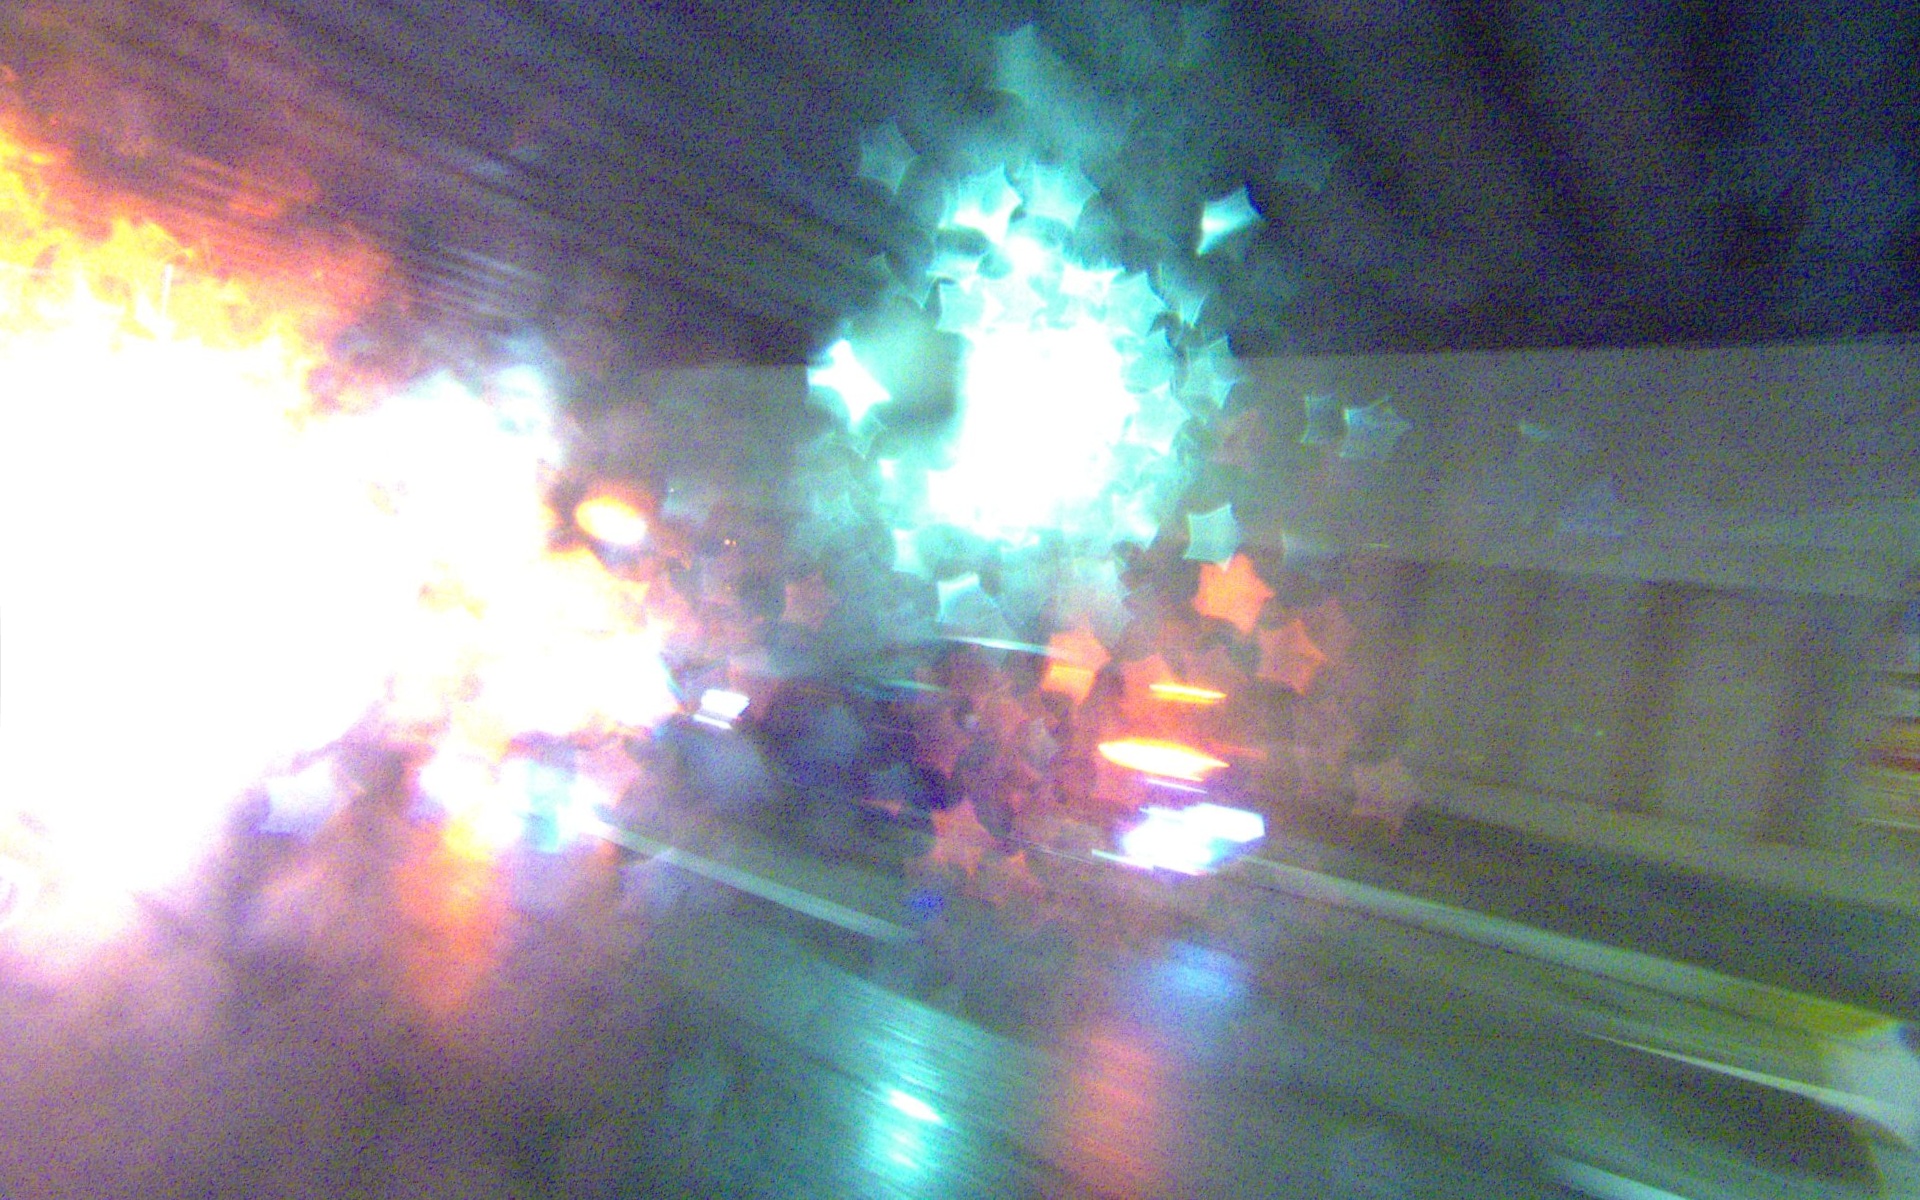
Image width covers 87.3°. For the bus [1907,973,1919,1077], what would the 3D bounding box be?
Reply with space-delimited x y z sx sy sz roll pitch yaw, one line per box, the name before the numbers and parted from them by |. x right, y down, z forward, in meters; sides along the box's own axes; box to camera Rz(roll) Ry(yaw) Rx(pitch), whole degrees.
bus | 8.300 1.061 1.354 9.536 3.316 2.739 7 0 30

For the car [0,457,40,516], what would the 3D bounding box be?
car | -37.405 -4.521 37.401 4.267 2.037 2.027 8 -1 -34

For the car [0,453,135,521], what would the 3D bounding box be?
car | -37.536 -4.705 42.147 4.269 2.037 2.025 8 -1 -35

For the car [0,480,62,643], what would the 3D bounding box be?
car | -10.730 -0.614 10.009 4.097 1.464 1.721 7 0 35

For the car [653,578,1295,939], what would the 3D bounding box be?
car | -0.019 0.855 7.072 4.093 1.506 1.721 7 1 32

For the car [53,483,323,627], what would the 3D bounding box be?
car | -10.551 -0.638 13.660 4.097 1.465 1.720 7 1 35

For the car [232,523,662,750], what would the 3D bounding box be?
car | -5.226 0.248 9.961 4.711 1.505 1.720 7 0 35
